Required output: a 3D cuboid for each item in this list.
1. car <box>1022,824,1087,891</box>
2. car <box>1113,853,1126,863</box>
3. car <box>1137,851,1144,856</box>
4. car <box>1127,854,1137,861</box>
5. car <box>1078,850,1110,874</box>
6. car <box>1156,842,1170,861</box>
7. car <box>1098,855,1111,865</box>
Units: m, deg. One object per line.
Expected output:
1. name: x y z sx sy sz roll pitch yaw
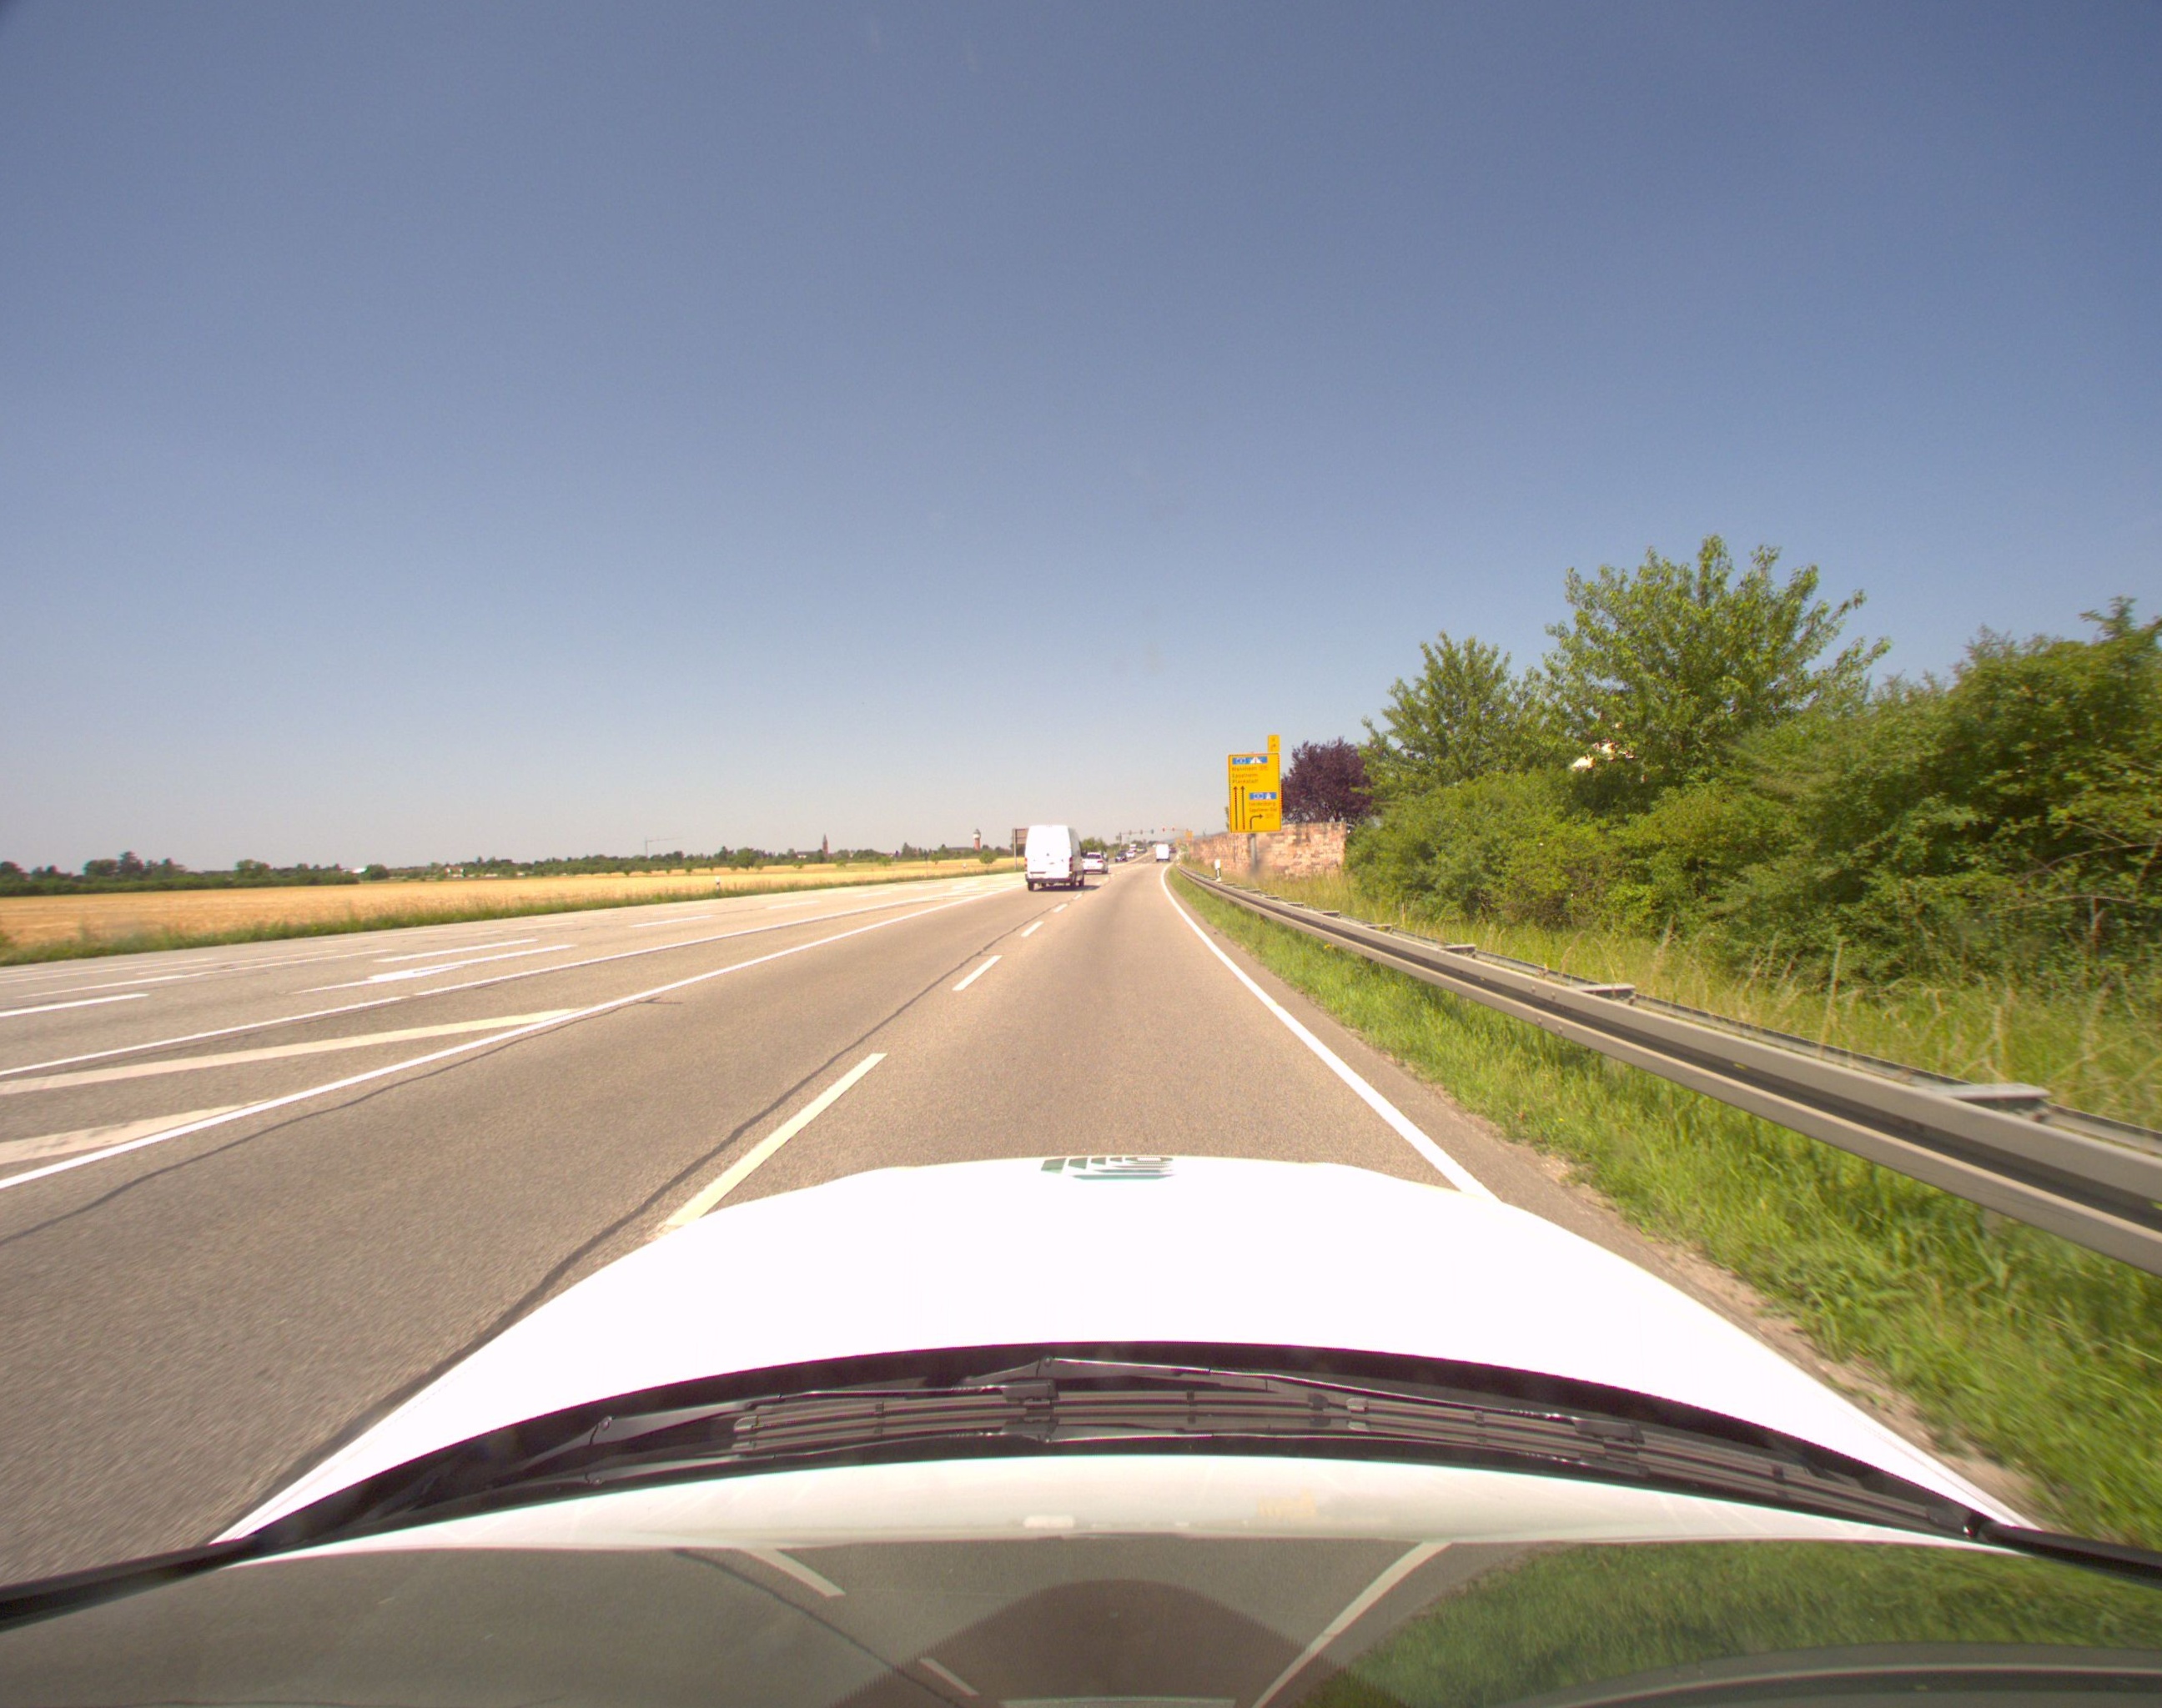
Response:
1. car: -1.018 0.146 34.885 2.029 2.620 5.749 -1 0 5
2. car: 5.995 0.563 126.439 1.740 1.442 4.089 -2 0 7
3. car: 17.132 -0.111 234.221 1.847 1.423 4.009 -2 0 8
4. car: 10.254 0.705 163.314 1.740 1.442 4.089 -1 -1 7
5. car: 0.938 0.520 56.452 1.790 1.508 4.204 -1 0 7
6. car: 12.289 -0.331 121.868 1.983 2.695 4.978 0 -1 7
7. car: 3.829 0.928 131.717 1.740 1.442 4.089 -2 0 7
